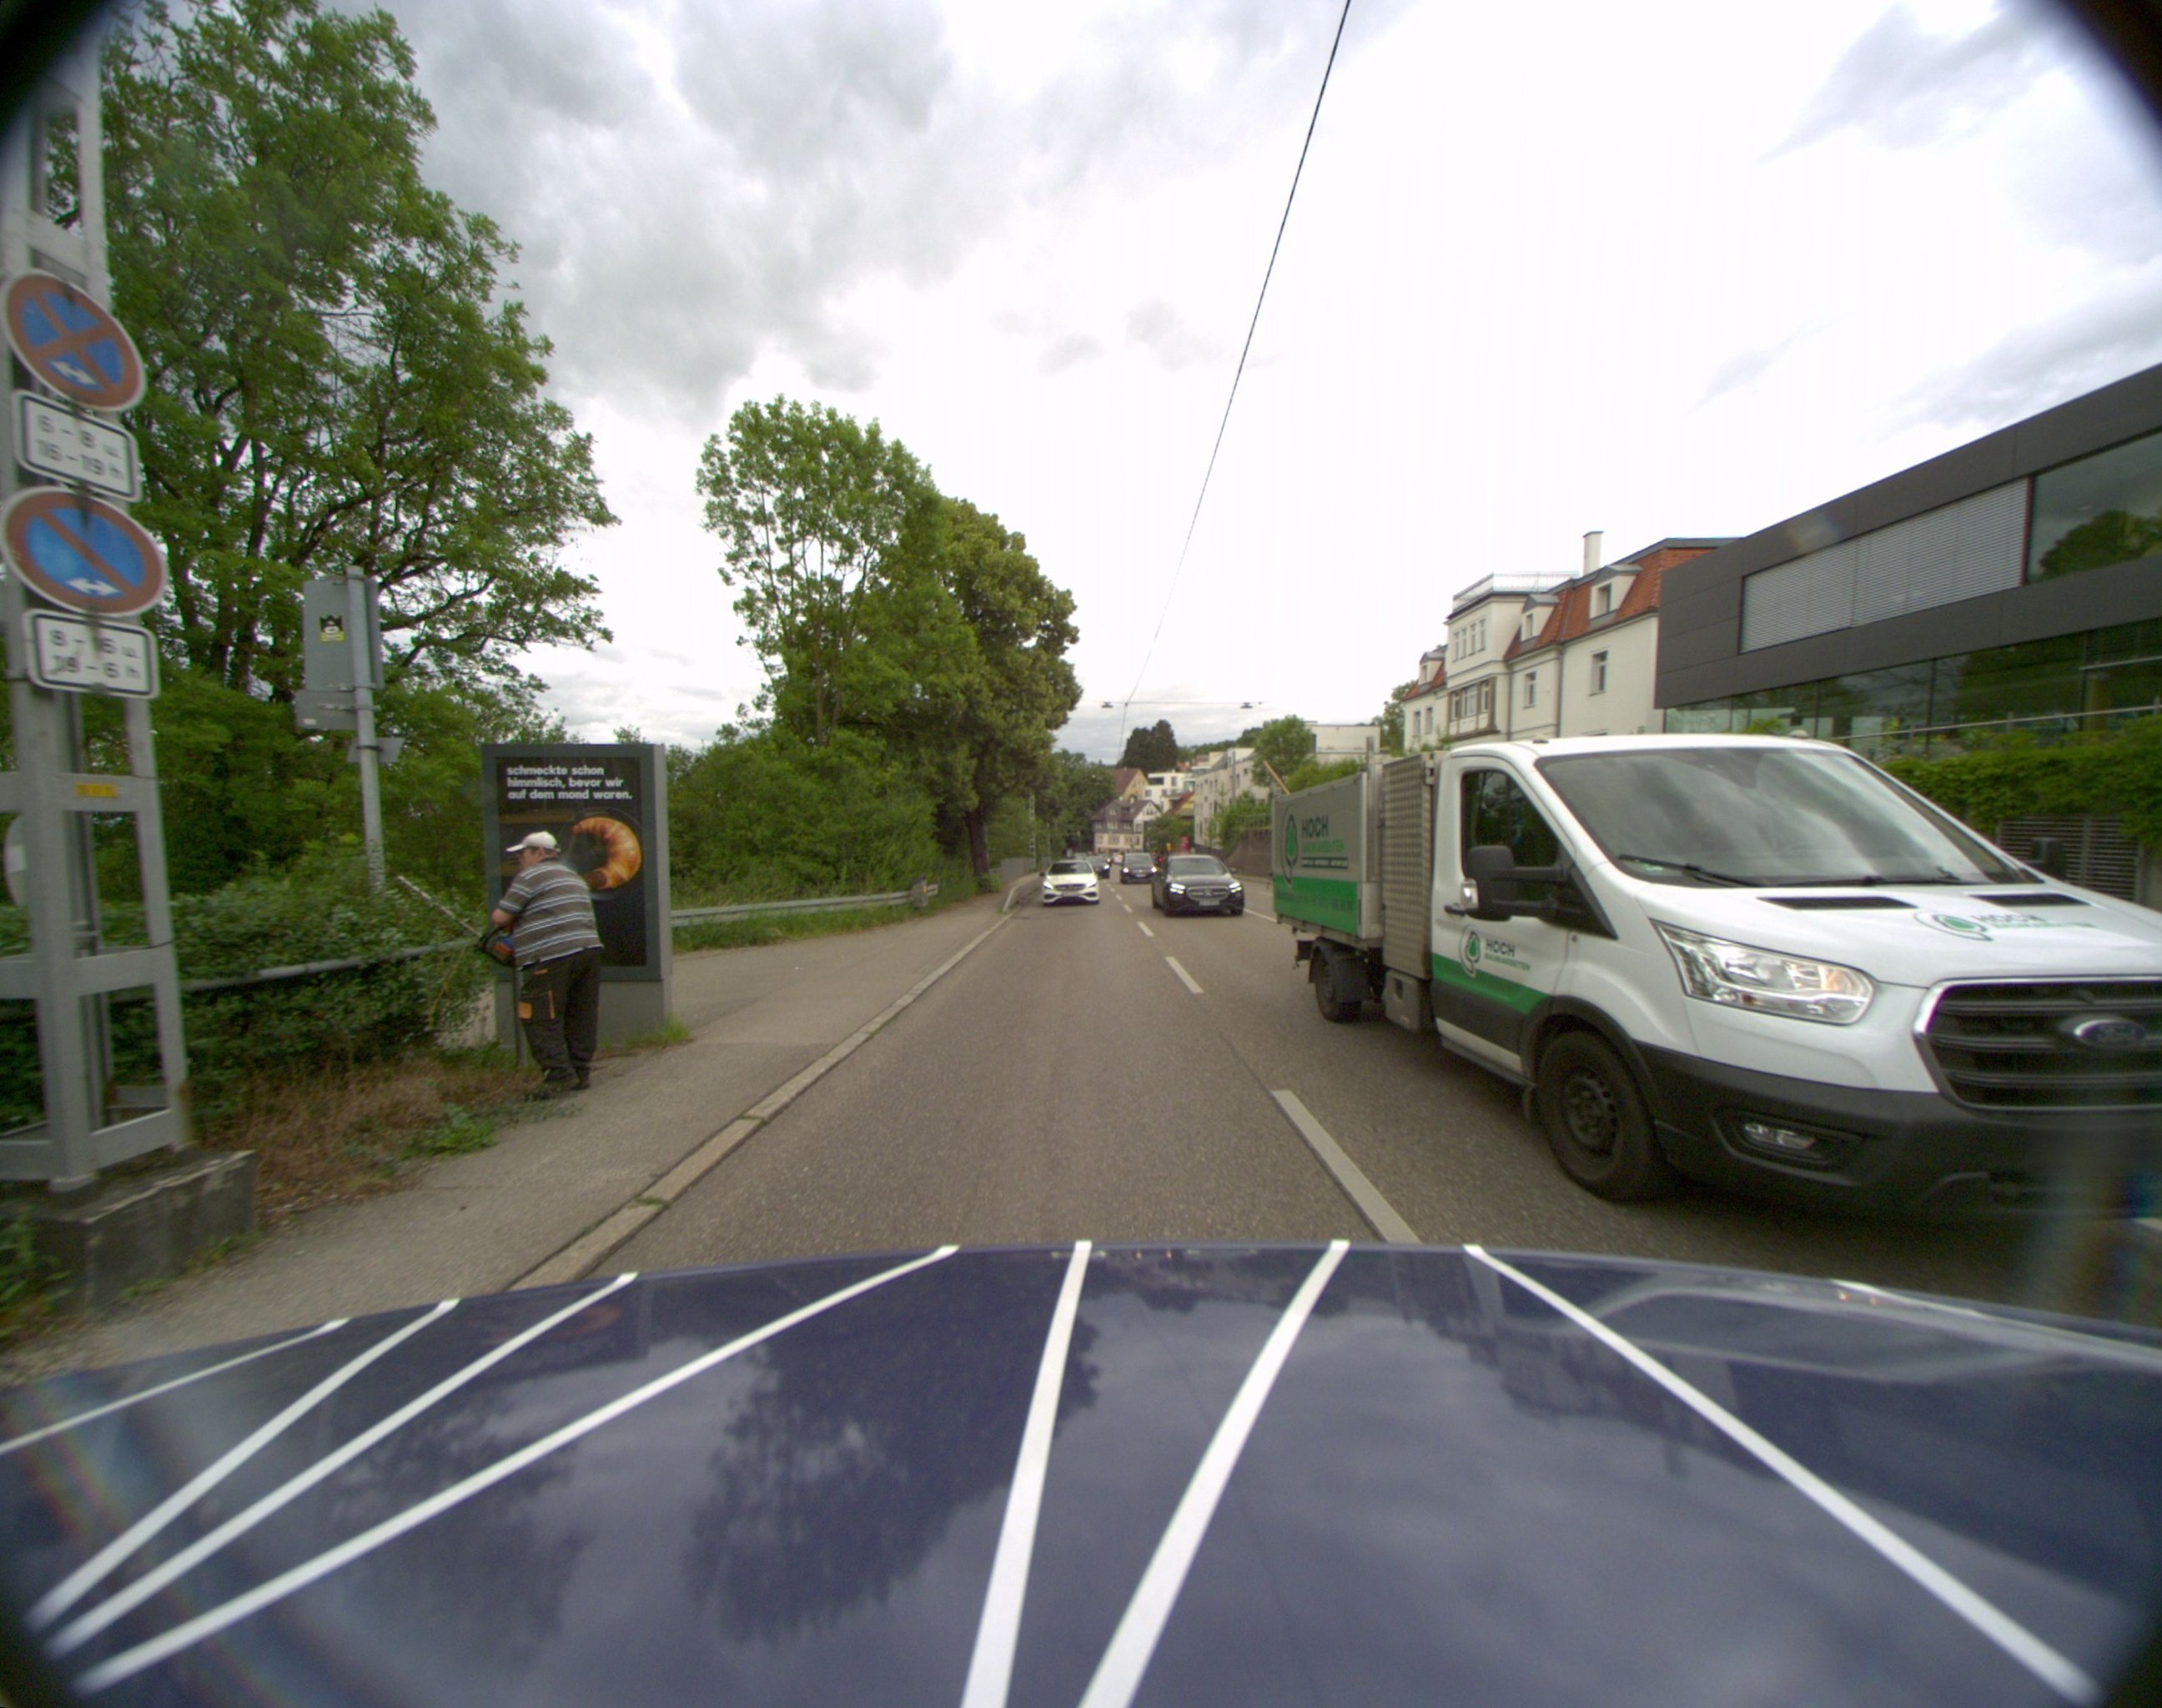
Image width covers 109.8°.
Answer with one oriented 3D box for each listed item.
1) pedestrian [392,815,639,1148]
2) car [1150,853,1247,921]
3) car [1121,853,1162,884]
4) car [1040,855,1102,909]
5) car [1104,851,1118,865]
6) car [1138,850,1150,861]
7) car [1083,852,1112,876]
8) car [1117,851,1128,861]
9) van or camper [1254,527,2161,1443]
[{"bbox_3d":[-3.498,0.719,4.790,0.814,1.873,0.949,1,1,5],"label":"pedestrian"},{"bbox_3d":[2.900,0.764,19.631,1.878,1.521,4.335,-1,1,1],"label":"car"},{"bbox_3d":[3.195,0.722,40.734,1.878,1.521,4.000,-1,1,1],"label":"car"},{"bbox_3d":[-0.273,0.855,25.153,1.809,1.521,4.000,-3,1,1],"label":"car"},{"bbox_3d":[3.872,0.523,99.495,1.709,1.702,3.868,0,0,0],"label":"car"},{"bbox_3d":[10.067,0.180,121.982,1.709,1.702,3.868,0,0,0],"label":"car"},{"bbox_3d":[1.074,0.664,51.541,1.878,1.521,4.000,-1,1,1],"label":"car"},{"bbox_3d":[6.748,0.301,123.366,1.709,1.702,3.868,0,0,0],"label":"car"},{"bbox_3d":[3.163,0.263,5.206,2.349,2.647,5.961,-2,3,-2],"label":"van or camper"}]
